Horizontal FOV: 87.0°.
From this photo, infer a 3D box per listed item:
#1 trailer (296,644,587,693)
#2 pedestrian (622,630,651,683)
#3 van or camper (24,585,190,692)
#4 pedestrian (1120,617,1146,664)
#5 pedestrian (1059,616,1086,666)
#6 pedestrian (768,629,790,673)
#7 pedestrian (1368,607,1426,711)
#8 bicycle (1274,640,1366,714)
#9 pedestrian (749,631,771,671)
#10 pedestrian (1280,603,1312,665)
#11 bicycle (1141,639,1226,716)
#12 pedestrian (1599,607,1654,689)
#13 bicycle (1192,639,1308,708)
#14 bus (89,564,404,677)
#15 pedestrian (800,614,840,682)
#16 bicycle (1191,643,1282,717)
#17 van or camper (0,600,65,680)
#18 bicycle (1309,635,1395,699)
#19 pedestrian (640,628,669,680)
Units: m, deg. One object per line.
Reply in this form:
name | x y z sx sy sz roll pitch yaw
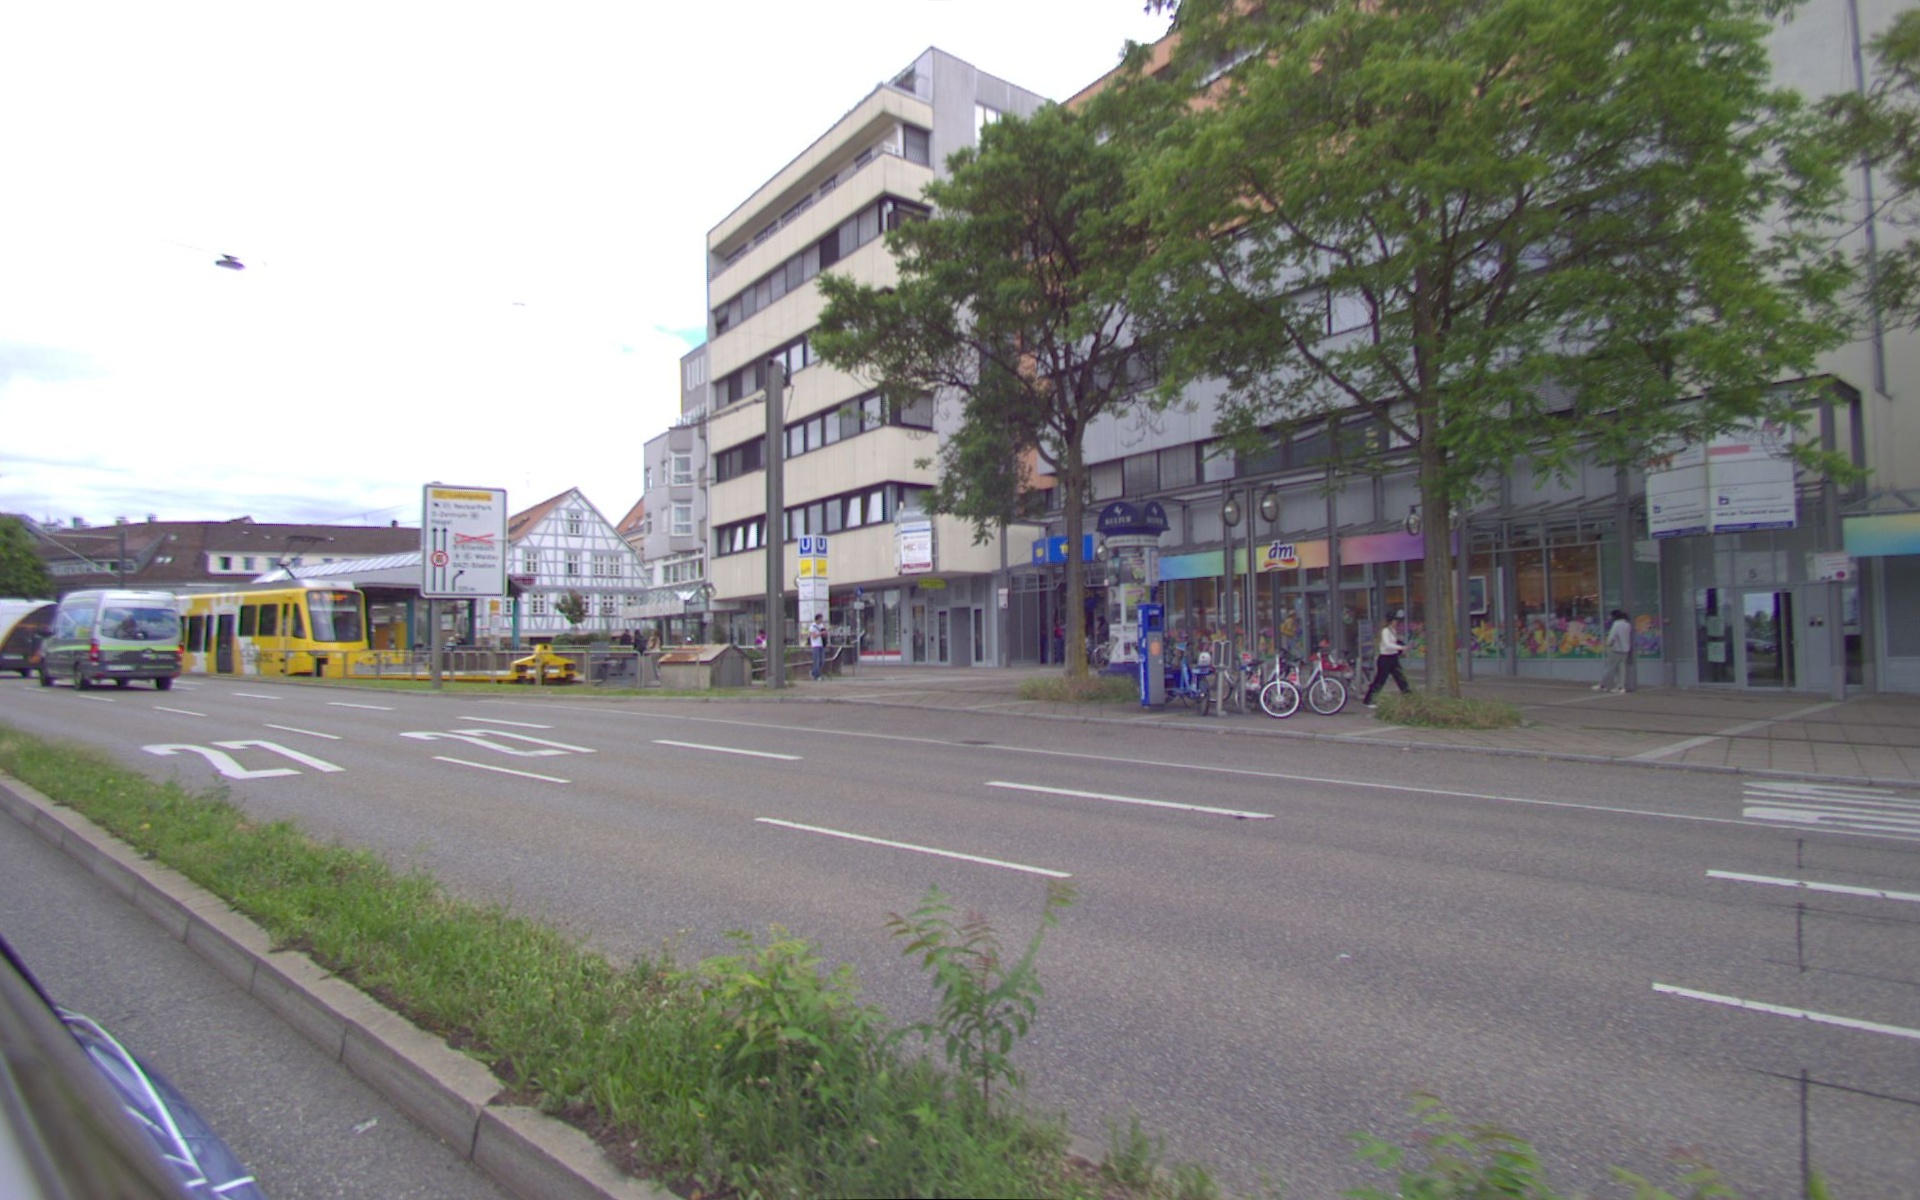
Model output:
trailer | -17.042 2.111 32.676 12.092 1.343 2.817 -2 -3 34
pedestrian | -9.943 1.725 31.094 0.619 1.586 0.593 -2 -3 35
van or camper | -23.229 1.062 27.460 6.105 2.618 2.013 -2 -4 37
pedestrian | 6.543 1.529 38.228 0.705 1.729 0.697 -2 0 37
pedestrian | 3.925 1.429 35.269 0.634 1.711 0.697 -2 -1 37
pedestrian | -7.238 2.036 40.476 0.627 1.713 0.544 -2 -3 36
pedestrian | 7.552 0.994 17.475 0.706 1.726 0.767 -2 0 39
bicycle | 5.977 1.255 16.902 0.595 1.170 1.694 0 -2 -14
pedestrian | -8.648 2.213 43.819 0.627 1.713 0.685 -2 -3 35
pedestrian | 9.355 0.946 28.195 0.667 1.713 0.643 -2 -3 37
bicycle | 3.771 1.281 17.215 0.595 1.170 1.970 -2 -1 -12
pedestrian | 13.363 0.953 20.309 0.624 1.612 0.624 -1 -1 -14
bicycle | 5.159 1.288 18.122 0.595 1.170 1.968 2 -3 -41
bus | -29.992 1.005 41.736 19.286 3.889 3.845 -2 -3 34
pedestrian | -3.977 1.368 28.813 0.872 1.892 0.737 -2 -3 37
bicycle | 4.635 1.308 17.094 0.595 1.170 1.970 0 -2 -13
van or camper | -33.441 1.411 35.407 6.106 2.618 1.975 -2 -4 38
bicycle | 7.522 1.262 19.536 0.664 1.170 2.021 0 -2 -6
pedestrian | -9.581 1.690 31.757 0.619 1.586 0.593 -2 -3 35
